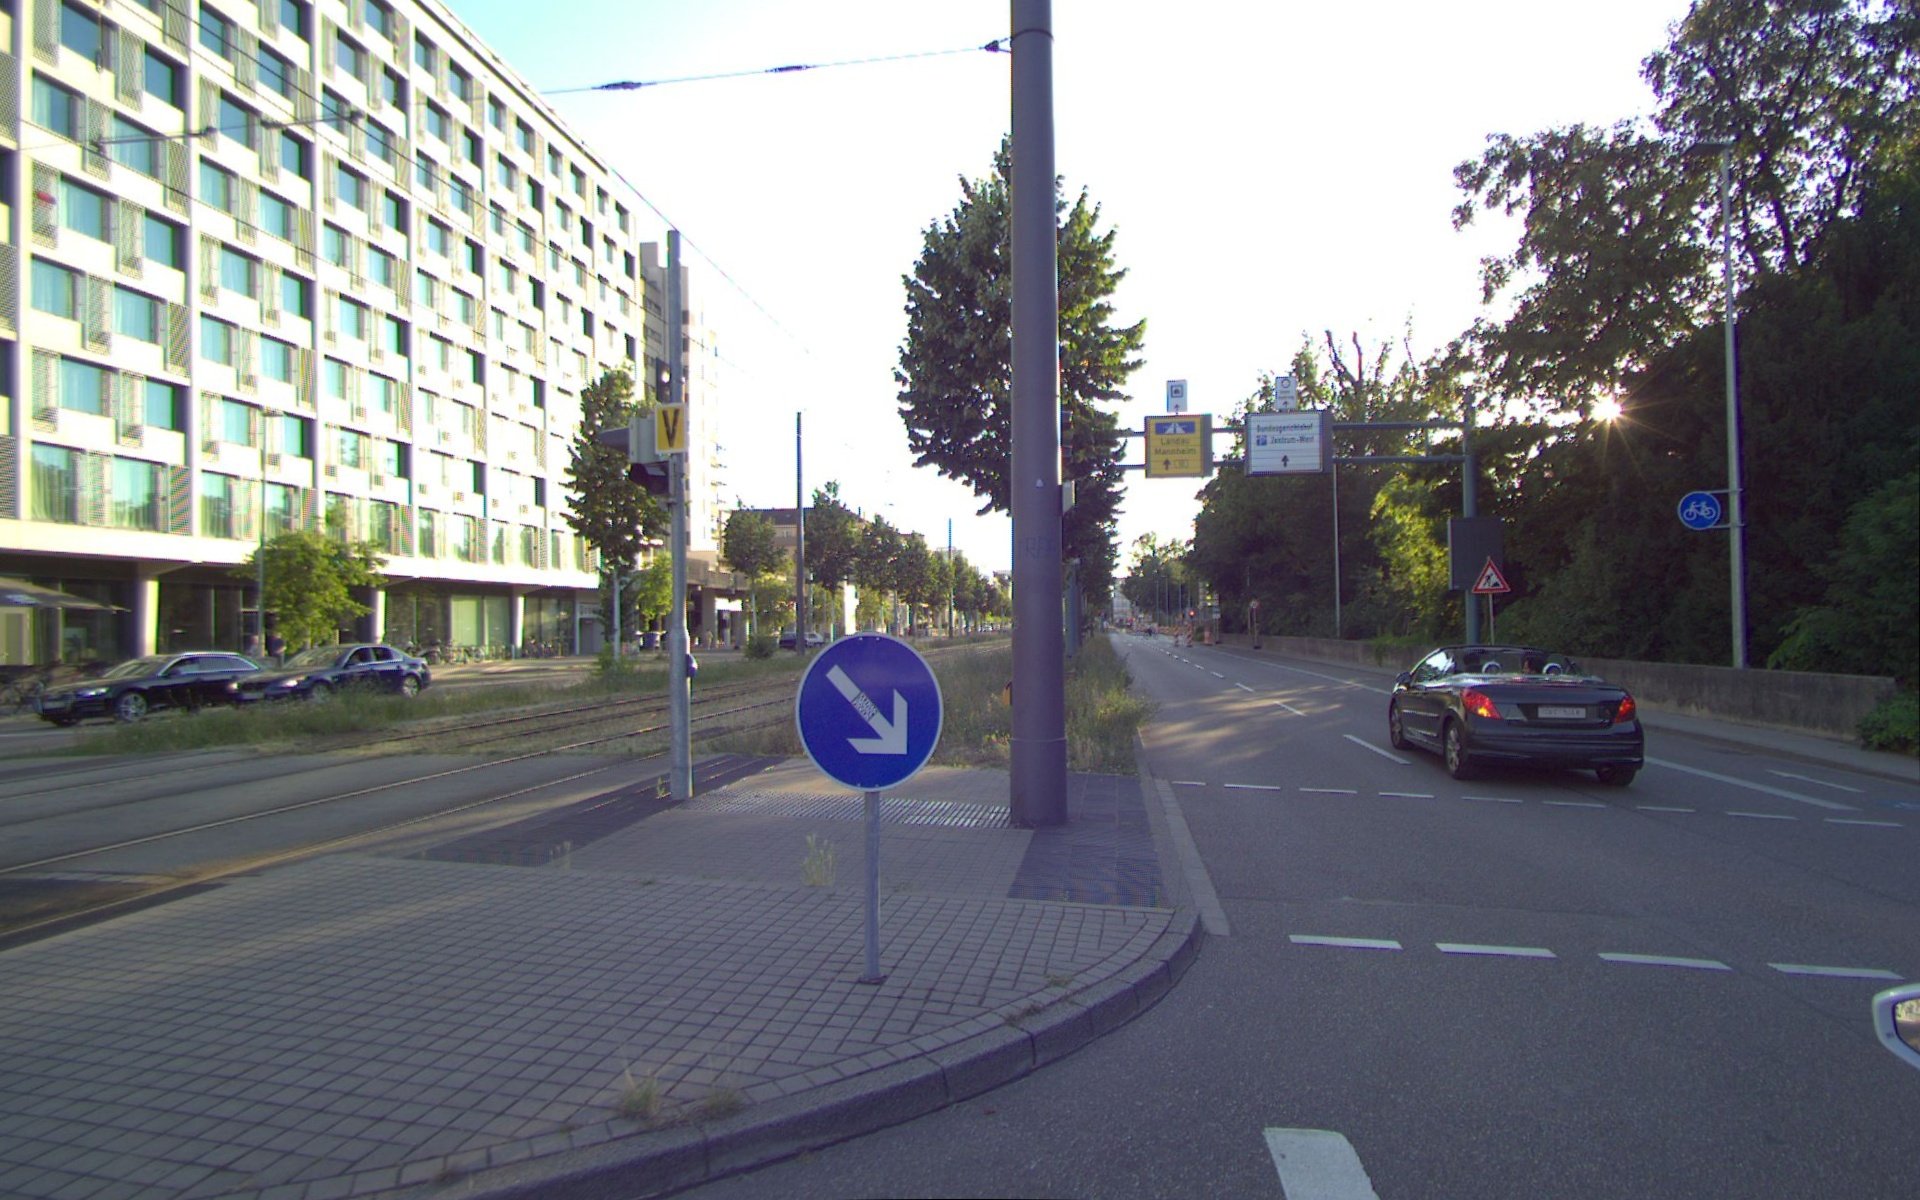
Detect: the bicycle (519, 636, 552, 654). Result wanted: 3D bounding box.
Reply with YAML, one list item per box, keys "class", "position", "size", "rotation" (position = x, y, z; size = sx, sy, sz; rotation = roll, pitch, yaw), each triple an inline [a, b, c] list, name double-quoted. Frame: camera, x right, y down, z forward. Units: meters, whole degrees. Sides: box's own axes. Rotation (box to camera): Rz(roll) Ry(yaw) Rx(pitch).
- class: "bicycle"
  position: [-24.737, 2.634, 58.531]
  size: [1.757, 1.033, 0.421]
  rotation: [-1, -1, 4]

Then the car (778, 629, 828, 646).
- class: "car"
  position: [-14.007, 3.371, 89.696]
  size: [4.085, 1.455, 1.810]
  rotation: [2, -1, -32]

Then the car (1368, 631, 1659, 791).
- class: "car"
  position: [6.017, 1.097, 11.460]
  size: [1.689, 1.469, 3.904]
  rotation: [0, -1, 9]

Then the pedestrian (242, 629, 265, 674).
- class: "pedestrian"
  position: [-27.025, 1.974, 38.420]
  size: [0.421, 1.678, 0.516]
  rotation: [1, -1, 9]

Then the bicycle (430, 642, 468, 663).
- class: "bicycle"
  position: [-25.856, 2.663, 50.847]
  size: [1.757, 1.033, 0.421]
  rotation: [-1, -1, 4]

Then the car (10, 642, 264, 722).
- class: "car"
  position: [-17.902, 1.734, 22.154]
  size: [1.853, 1.459, 4.226]
  rotation: [-3, -2, 6]

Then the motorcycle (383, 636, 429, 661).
- class: "motorcycle"
  position: [-26.564, 2.322, 48.190]
  size: [1.863, 1.187, 0.515]
  rotation: [0, -1, -8]

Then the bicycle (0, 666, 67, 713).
- class: "bicycle"
  position: [-22.691, 2.149, 24.292]
  size: [1.876, 1.073, 0.443]
  rotation: [1, -1, 4]

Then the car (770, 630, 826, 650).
- class: "car"
  position: [-13.568, 3.348, 84.260]
  size: [4.238, 1.611, 1.992]
  rotation: [1, -2, -33]

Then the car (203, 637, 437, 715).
- class: "car"
  position: [-14.616, 1.684, 23.350]
  size: [1.981, 1.460, 4.804]
  rotation: [-3, -1, 6]

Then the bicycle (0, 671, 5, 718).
- class: "bicycle"
  position: [-22.919, 2.145, 22.942]
  size: [1.876, 1.073, 0.443]
  rotation: [1, -1, 4]

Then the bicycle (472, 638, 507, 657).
- class: "bicycle"
  position: [-25.593, 2.590, 54.615]
  size: [1.757, 1.033, 0.421]
  rotation: [-1, -1, 4]
